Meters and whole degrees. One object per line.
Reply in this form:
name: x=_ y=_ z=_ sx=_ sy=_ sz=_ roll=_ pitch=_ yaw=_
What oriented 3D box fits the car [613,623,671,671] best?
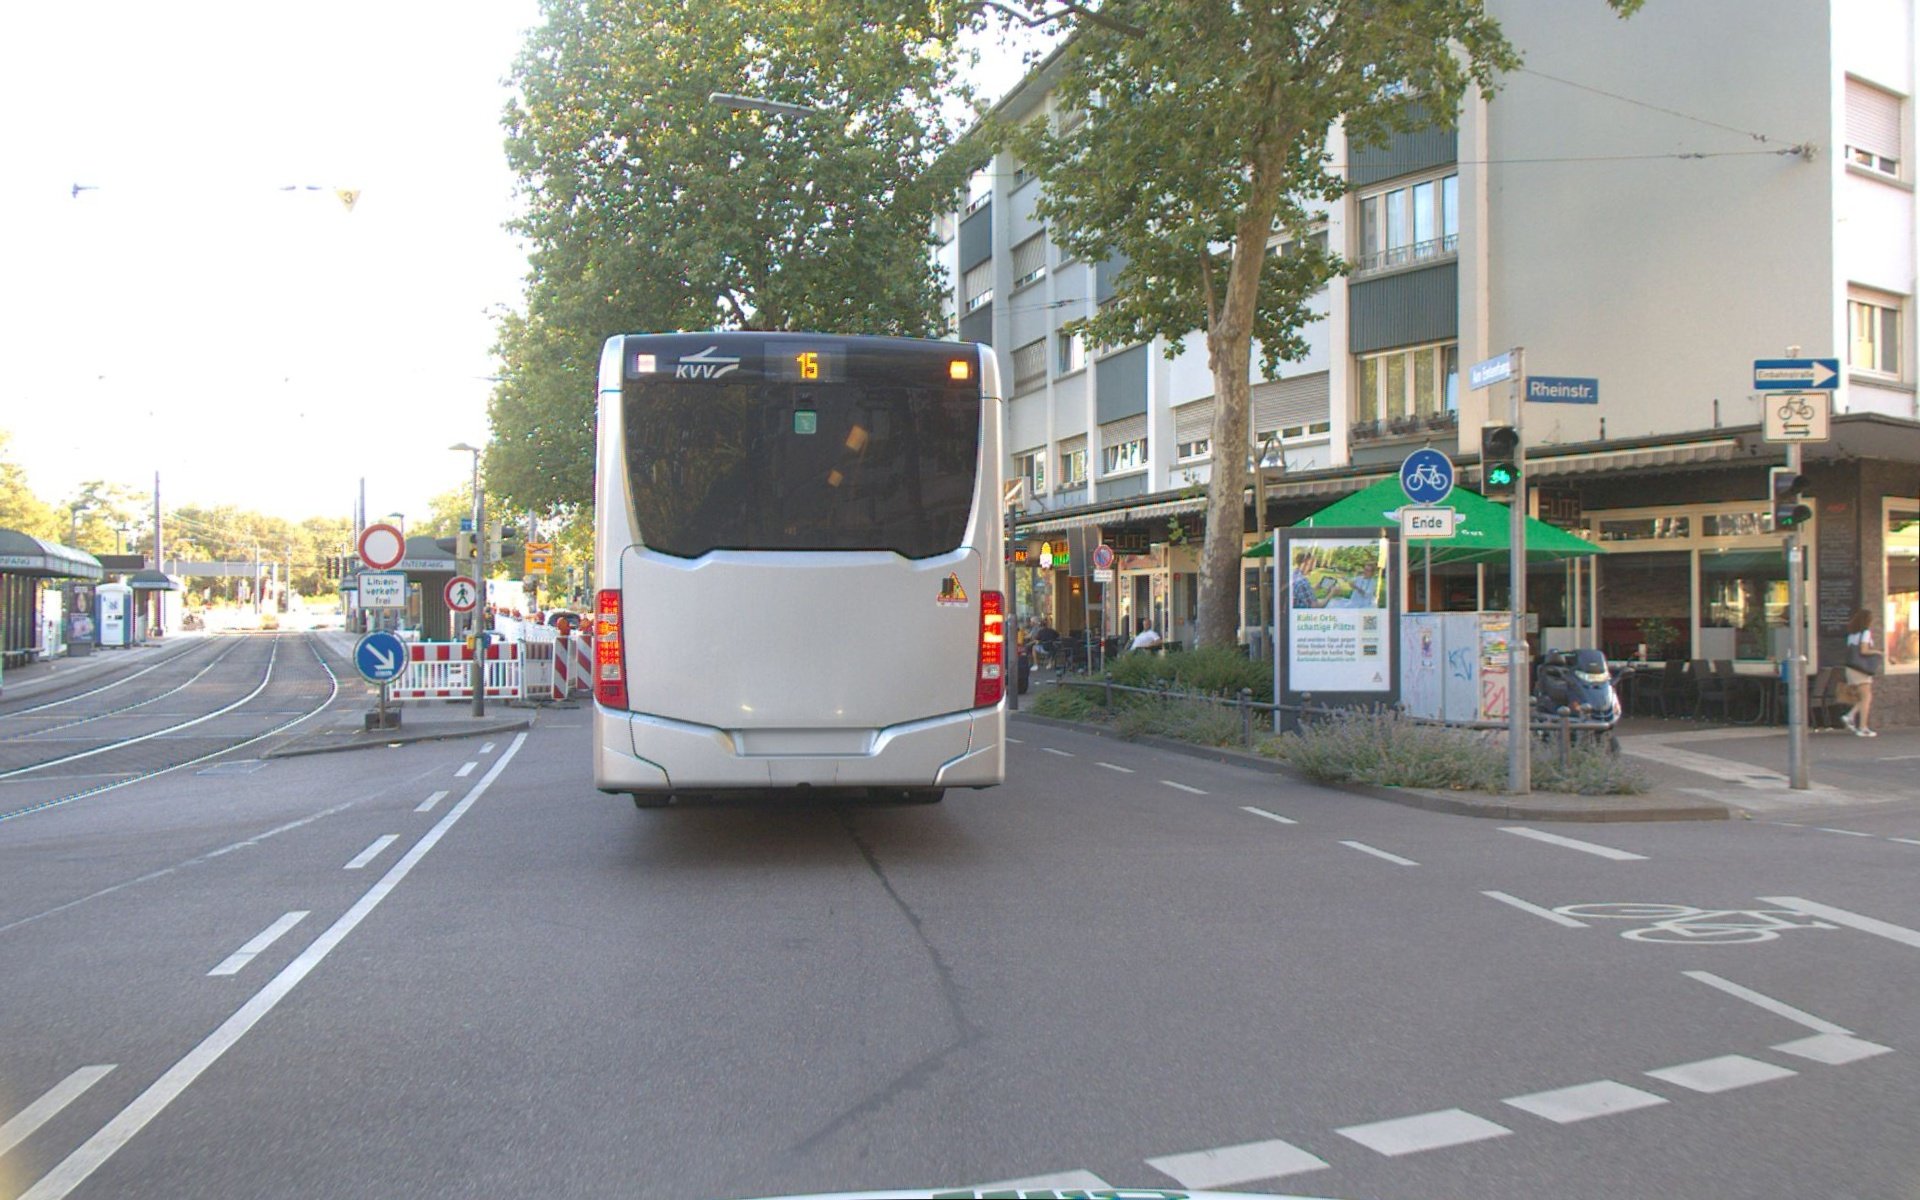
car: x=-10.458 y=1.518 z=54.243 sx=1.726 sy=1.490 sz=3.986 roll=0 pitch=-1 yaw=-13

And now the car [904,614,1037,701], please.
car: x=0.165 y=1.114 z=33.405 sx=1.637 sy=1.543 sz=3.394 roll=-3 pitch=1 yaw=-18

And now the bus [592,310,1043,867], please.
bus: x=-1.644 y=0.002 z=14.614 sx=2.609 sy=3.153 sz=10.191 roll=0 pitch=-1 yaw=-10

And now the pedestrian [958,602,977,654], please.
pedestrian: x=0.189 y=0.694 z=41.167 sx=0.381 sy=1.279 sz=0.390 roll=0 pitch=-1 yaw=-18

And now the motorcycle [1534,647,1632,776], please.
motorcycle: x=6.158 y=1.078 z=16.397 sx=0.558 sy=1.178 sz=1.462 roll=2 pitch=-1 yaw=7

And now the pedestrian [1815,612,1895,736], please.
pedestrian: x=11.690 y=0.956 z=21.604 sx=0.597 sy=1.575 sz=0.707 roll=2 pitch=0 yaw=-35

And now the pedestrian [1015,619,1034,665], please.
pedestrian: x=1.677 y=1.091 z=43.268 sx=0.385 sy=1.195 sz=0.386 roll=0 pitch=-1 yaw=-20

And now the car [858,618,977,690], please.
car: x=-1.004 y=1.170 z=37.286 sx=1.638 sy=1.419 sz=3.392 roll=-3 pitch=1 yaw=-20

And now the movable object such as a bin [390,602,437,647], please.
movable object such as a bin: x=-31.327 y=1.386 z=94.708 sx=2.456 sy=2.520 sz=5.325 roll=0 pitch=-1 yaw=-19

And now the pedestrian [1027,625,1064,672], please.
pedestrian: x=2.101 y=1.178 z=40.642 sx=0.694 sy=1.128 sz=0.762 roll=0 pitch=-1 yaw=-18

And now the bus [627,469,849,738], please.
bus: x=-3.420 y=0.109 z=24.651 sx=2.609 sy=3.153 sz=10.193 roll=0 pitch=-1 yaw=-9

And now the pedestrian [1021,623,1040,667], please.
pedestrian: x=1.833 y=1.156 z=42.830 sx=0.381 sy=1.141 sz=0.390 roll=0 pitch=-1 yaw=-19

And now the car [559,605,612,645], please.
car: x=-14.411 y=0.942 z=63.499 sx=1.728 sy=1.490 sz=3.981 roll=0 pitch=-1 yaw=-17

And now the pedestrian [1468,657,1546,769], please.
pedestrian: x=6.478 y=1.329 z=19.617 sx=0.541 sy=1.265 sz=0.729 roll=2 pitch=0 yaw=-16

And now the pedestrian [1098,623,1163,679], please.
pedestrian: x=3.751 y=1.118 z=36.494 sx=1.159 sy=1.218 sz=0.921 roll=0 pitch=-1 yaw=-18
